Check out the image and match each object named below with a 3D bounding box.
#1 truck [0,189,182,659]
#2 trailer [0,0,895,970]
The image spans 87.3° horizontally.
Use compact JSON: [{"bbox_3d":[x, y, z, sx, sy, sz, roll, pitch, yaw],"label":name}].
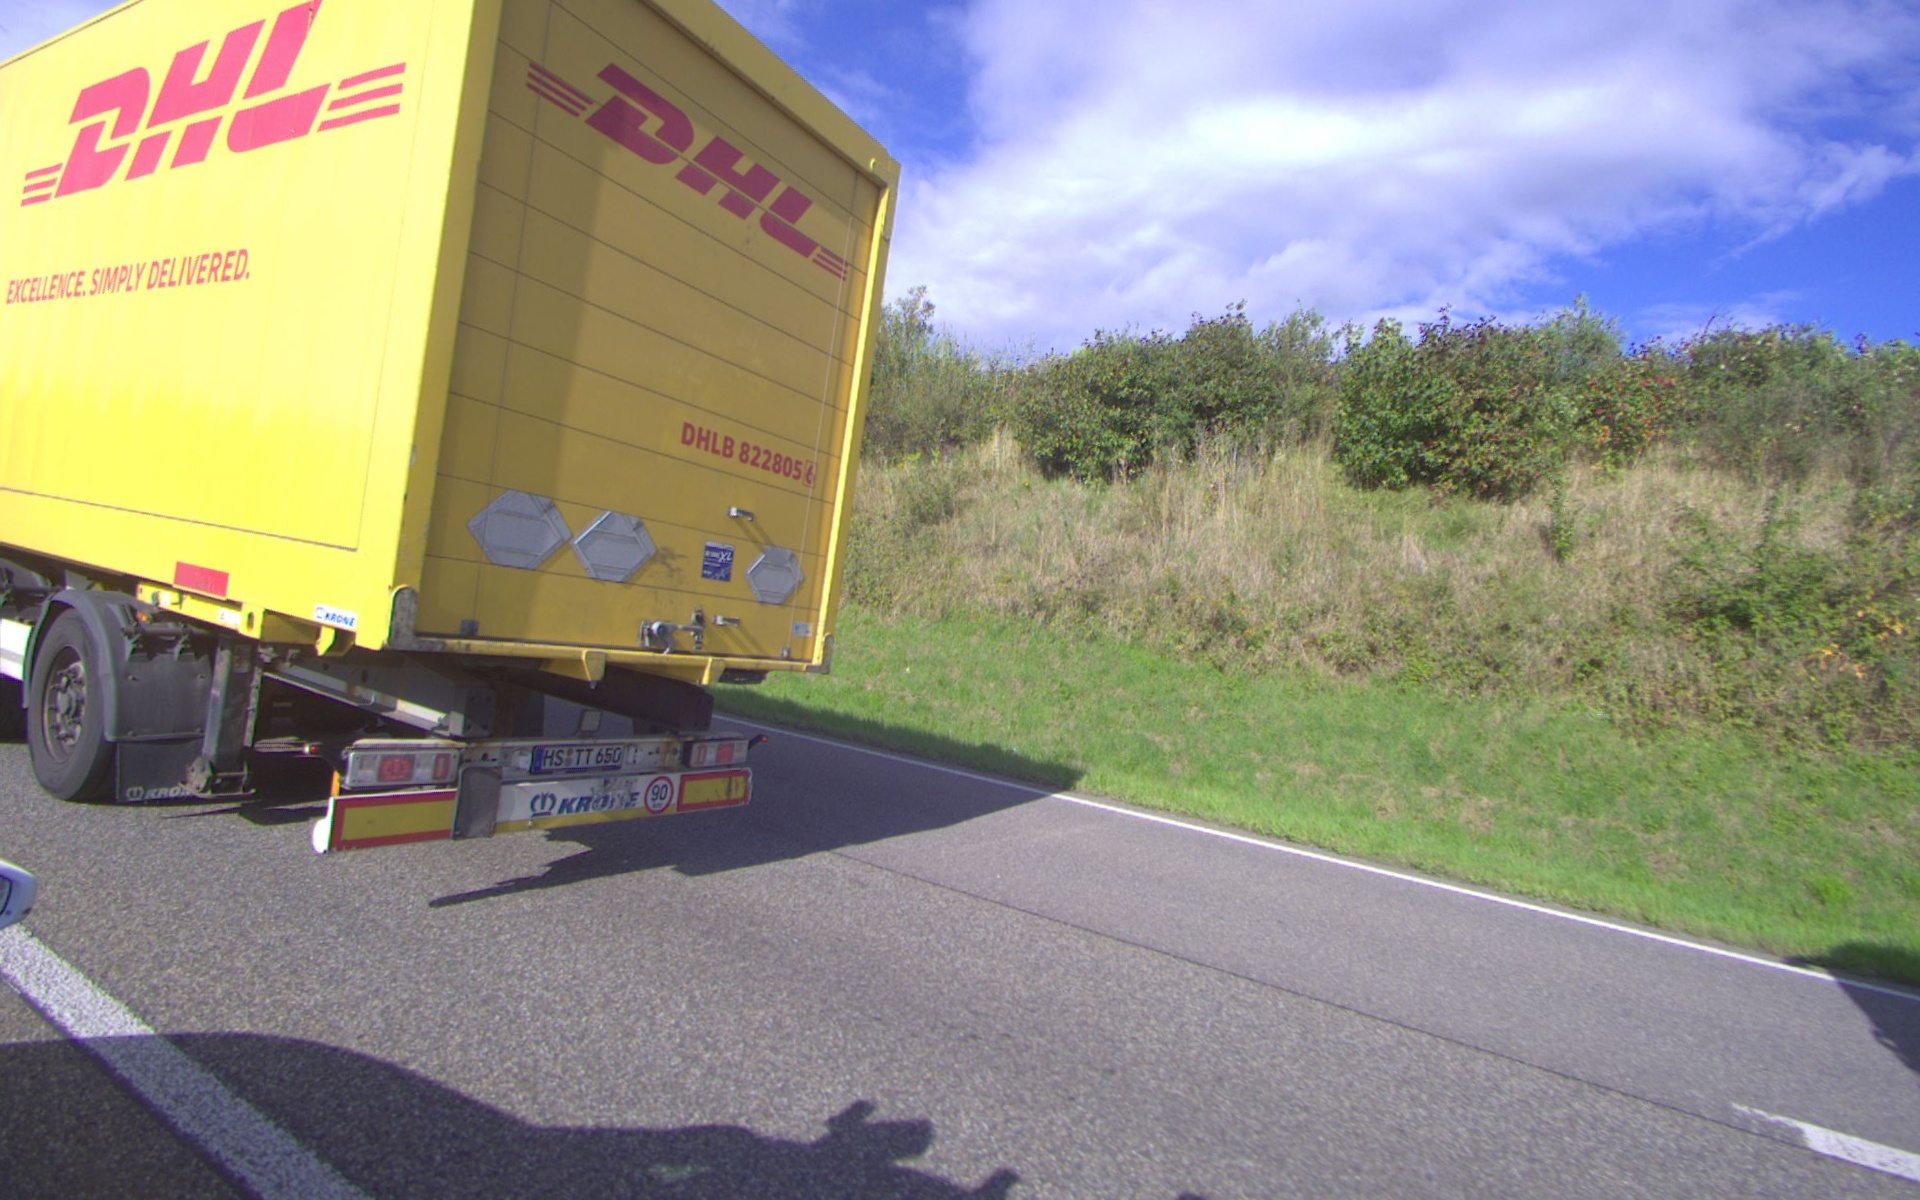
[{"bbox_3d":[-12.694,-2.080,11.521,9.503,4.116,2.416,7,-1,31],"label":"truck"},{"bbox_3d":[-4.947,-1.137,6.744,8.777,4.116,2.416,7,-1,31],"label":"trailer"}]
